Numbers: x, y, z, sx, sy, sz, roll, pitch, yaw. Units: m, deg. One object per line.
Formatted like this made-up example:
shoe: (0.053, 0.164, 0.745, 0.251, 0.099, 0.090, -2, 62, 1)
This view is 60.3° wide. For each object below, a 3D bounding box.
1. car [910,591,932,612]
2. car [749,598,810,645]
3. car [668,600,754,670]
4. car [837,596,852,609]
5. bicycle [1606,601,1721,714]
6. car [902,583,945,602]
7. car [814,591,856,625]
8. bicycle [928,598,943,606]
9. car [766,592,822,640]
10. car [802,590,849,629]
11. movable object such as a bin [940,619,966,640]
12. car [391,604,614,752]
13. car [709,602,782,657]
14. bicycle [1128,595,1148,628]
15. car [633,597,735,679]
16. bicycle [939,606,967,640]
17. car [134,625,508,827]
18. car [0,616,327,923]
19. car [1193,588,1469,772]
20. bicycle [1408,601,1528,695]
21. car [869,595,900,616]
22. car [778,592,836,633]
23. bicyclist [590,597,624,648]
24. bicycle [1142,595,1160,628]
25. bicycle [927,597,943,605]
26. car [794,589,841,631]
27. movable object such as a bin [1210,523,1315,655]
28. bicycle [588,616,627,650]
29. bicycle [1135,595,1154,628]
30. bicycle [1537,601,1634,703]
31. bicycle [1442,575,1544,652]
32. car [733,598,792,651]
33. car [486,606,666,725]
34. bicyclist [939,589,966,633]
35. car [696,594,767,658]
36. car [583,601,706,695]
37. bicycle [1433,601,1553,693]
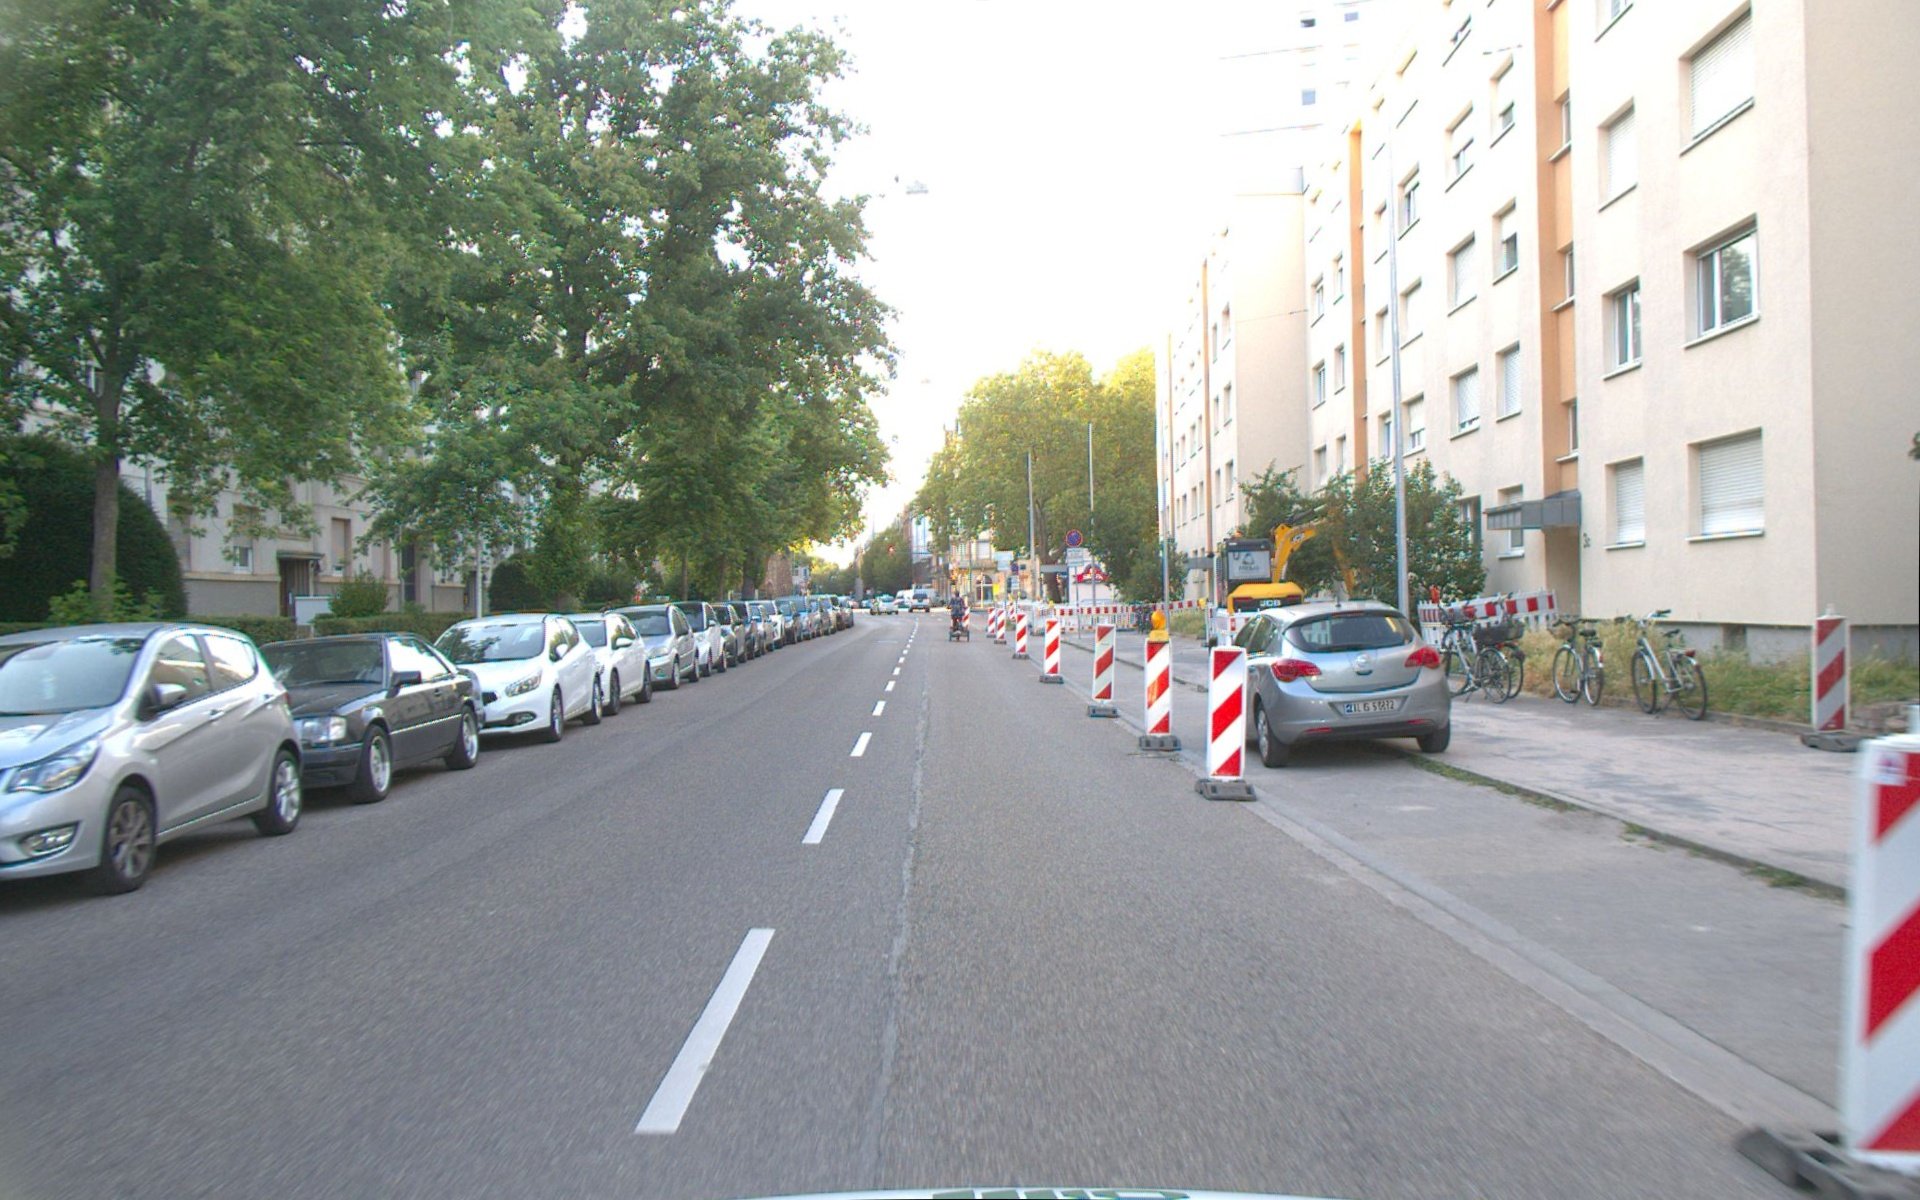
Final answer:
car: (-3.588, 0.100, 152.095, 1.829, 1.846, 3.998, -2, 0, -3)
car: (-6.314, 0.720, 58.219, 1.673, 1.477, 3.842, -4, 0, -1)
car: (-5.962, 0.803, 40.002, 1.559, 1.492, 4.100, -4, 0, -3)
car: (-15.272, 0.298, 218.568, 1.748, 1.680, 3.813, 1, 0, -9)
bicycle: (7.808, 0.609, 18.439, 0.544, 1.192, 1.817, -1, 0, 2)
car: (-4.673, -0.963, 214.340, 5.780, 2.328, 2.038, -1, 0, -45)
car: (-6.613, 0.406, 87.992, 1.914, 1.645, 4.604, -3, 0, -2)
bicycle: (-3.116, 0.221, 208.137, 1.876, 0.985, 0.545, -1, 0, -3)
car: (-6.257, 0.578, 62.638, 1.673, 1.628, 4.116, -4, 0, -1)
car: (-6.481, 0.439, 80.155, 1.914, 1.749, 4.769, -3, 0, -2)
movable object such as a bin: (-0.254, 1.083, 60.561, 0.920, 0.701, 0.993, -4, 0, 1)
car: (-5.418, 0.851, 20.101, 1.659, 1.485, 4.143, -4, 0, -3)
car: (-6.241, 0.823, 48.416, 1.558, 1.428, 4.180, -4, 0, -1)
bicycle: (6.758, 0.418, 62.920, 0.442, 1.243, 1.910, -1, 0, -3)
car: (-5.866, 0.778, 35.420, 1.557, 1.555, 2.921, -4, 0, 1)
bicycle: (-0.246, 0.848, 62.237, 0.920, 1.192, 2.359, -4, 0, 1)
car: (-5.509, 0.996, 14.938, 1.641, 1.355, 4.578, -4, 0, -2)
car: (-5.370, 0.915, 10.151, 1.641, 1.485, 3.703, -4, 0, -3)
car: (3.668, 0.719, 17.203, 1.740, 1.516, 4.573, -5, 0, 0)
bicycle: (6.727, 0.613, 21.989, 0.548, 1.192, 1.806, -1, 0, -20)
car: (-6.261, 0.453, 136.644, 1.834, 1.613, 3.985, -2, 0, -14)
car: (-6.193, 0.473, 67.445, 1.696, 1.523, 4.272, -3, 0, 3)
bicyclist: (-10.082, 0.629, 47.266, 0.792, 1.428, 0.973, 0, 0, -2)
bicycle: (7.273, 0.420, 62.955, 0.390, 1.243, 1.825, -1, 0, -3)
bicycle: (-3.145, 0.103, 208.024, 1.876, 0.985, 0.545, -1, 0, -3)
car: (-6.244, 0.431, 72.905, 1.810, 1.720, 4.856, -3, 0, -3)
movable object such as a bin: (6.562, -0.234, 36.166, 1.893, 2.740, 2.893, -1, 0, 3)
bicycle: (-10.086, 0.945, 47.376, 0.792, 0.927, 1.761, 0, 0, -1)
bicycle: (7.026, 0.420, 63.017, 0.390, 1.243, 1.910, -1, 0, -3)
bicycle: (7.722, 0.616, 20.486, 0.544, 1.192, 1.817, -1, 0, 2)
bicycle: (8.899, 0.219, 27.651, 1.562, 1.243, 0.484, -1, 0, -8)
car: (-6.387, 0.774, 53.822, 1.559, 1.565, 4.204, -4, 0, -3)
car: (-5.628, 0.896, 24.793, 1.658, 1.485, 4.482, -4, 0, -1)
bicyclist: (-0.274, 0.413, 62.259, 0.920, 1.609, 1.146, -4, 0, 1)
car: (-6.077, 0.664, 44.273, 1.493, 1.555, 3.163, -4, 0, -3)
car: (-5.840, 0.842, 30.956, 1.558, 1.531, 3.798, -4, 0, -1)
bicycle: (7.226, 0.618, 22.503, 0.616, 1.192, 1.808, -1, 0, -17)
